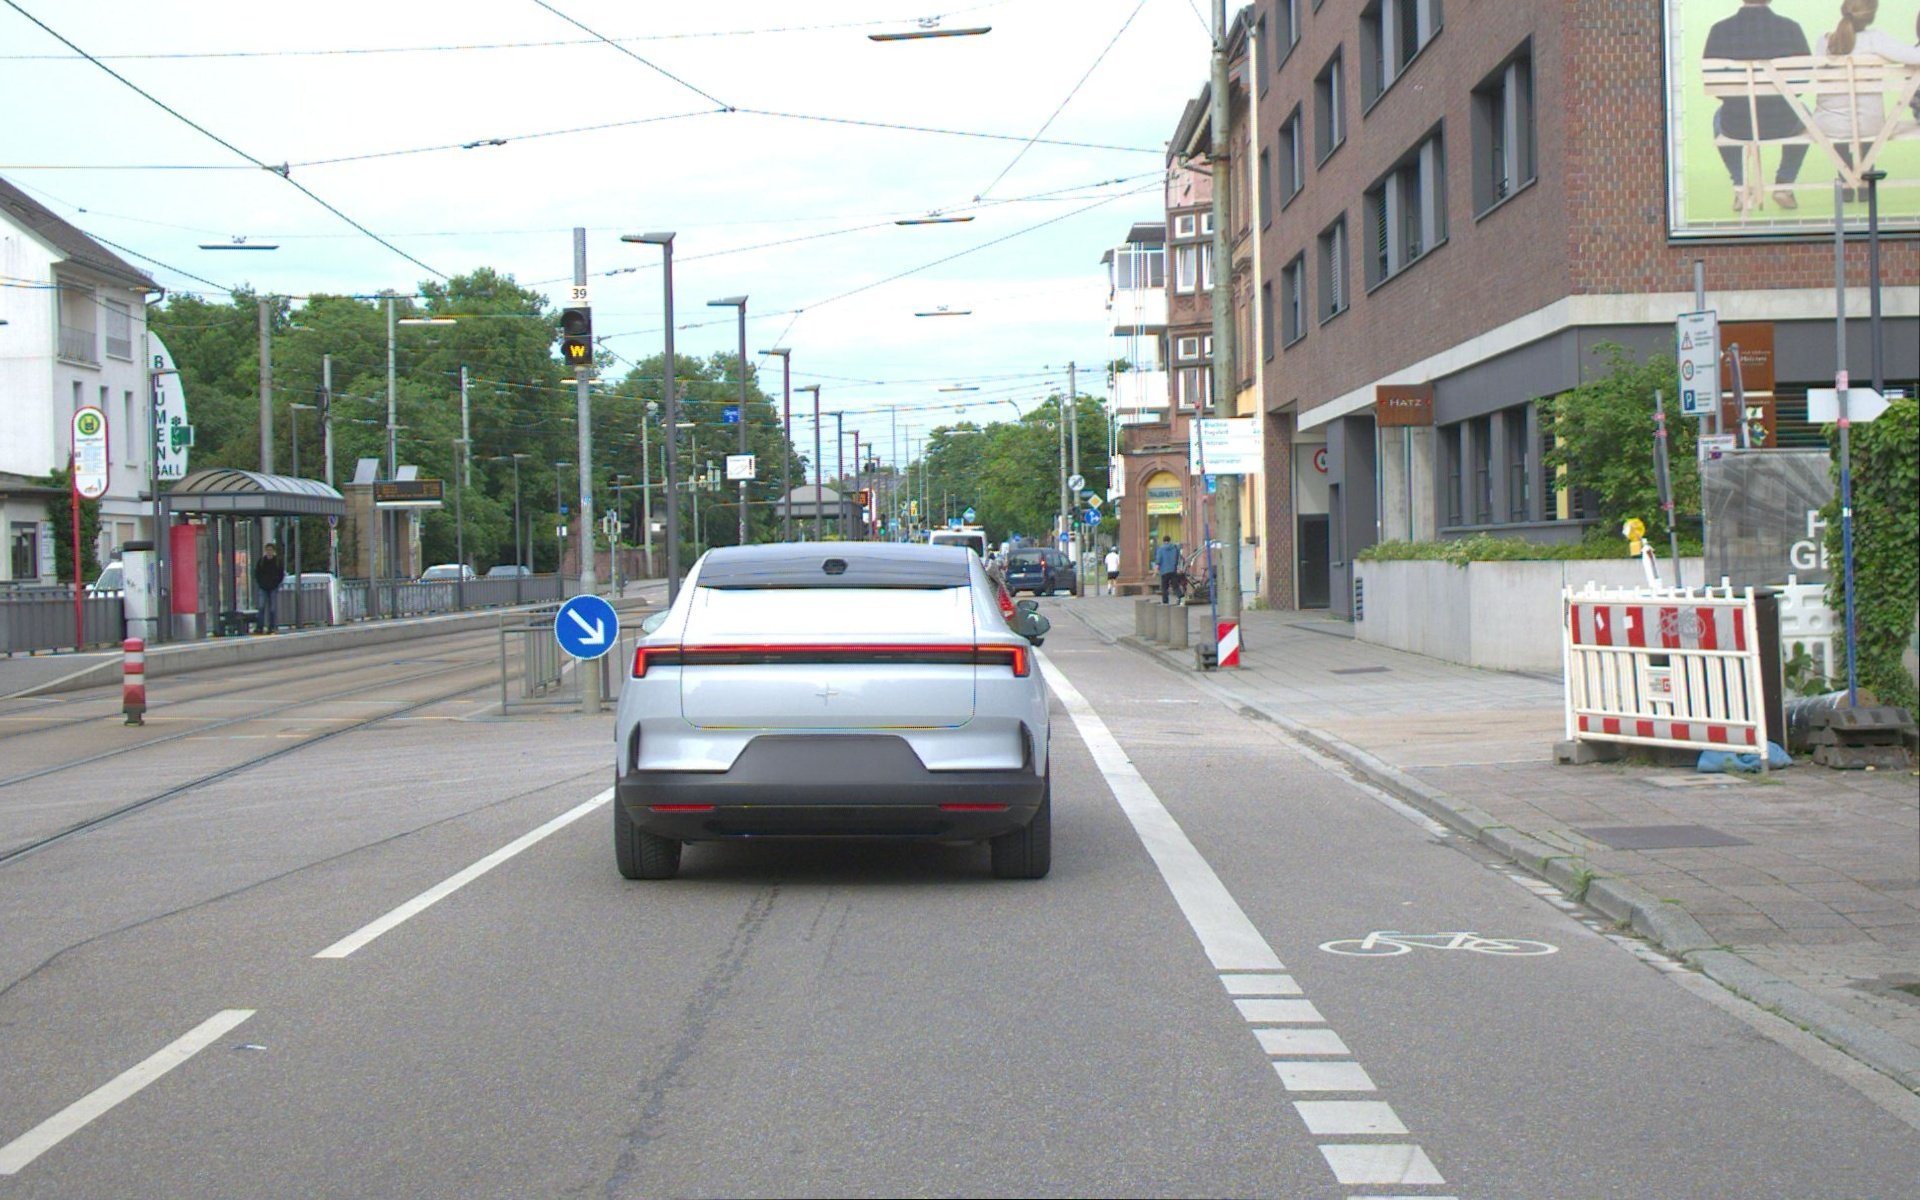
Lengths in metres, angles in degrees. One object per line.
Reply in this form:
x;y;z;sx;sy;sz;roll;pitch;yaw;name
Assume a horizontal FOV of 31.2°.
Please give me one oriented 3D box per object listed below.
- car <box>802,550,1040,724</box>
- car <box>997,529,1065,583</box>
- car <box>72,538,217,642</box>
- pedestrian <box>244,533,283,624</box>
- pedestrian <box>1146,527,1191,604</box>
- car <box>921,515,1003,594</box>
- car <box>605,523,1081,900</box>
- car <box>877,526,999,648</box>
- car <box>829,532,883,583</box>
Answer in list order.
-0.366;0.286;31.355;1.993;1.415;4.000;-2;1;-1;car
2.724;-1.677;130.644;1.994;2.007;3.998;0;0;10;car
-16.504;-0.221;69.780;1.884;1.982;4.525;-2;1;-1;car
-12.830;-0.394;63.313;0.615;1.659;0.697;0;0;-18;pedestrian
5.209;-0.876;85.816;0.961;1.843;0.975;-3;1;7;pedestrian
0.036;-1.395;106.432;2.225;2.394;5.124;0;0;-3;car
-0.630;0.458;16.466;1.999;1.575;4.001;0;0;-4;car
-0.292;-0.195;49.485;1.681;1.682;3.824;0;0;1;car
-4.336;-1.766;142.580;1.993;2.007;4.001;-2;1;-4;car
